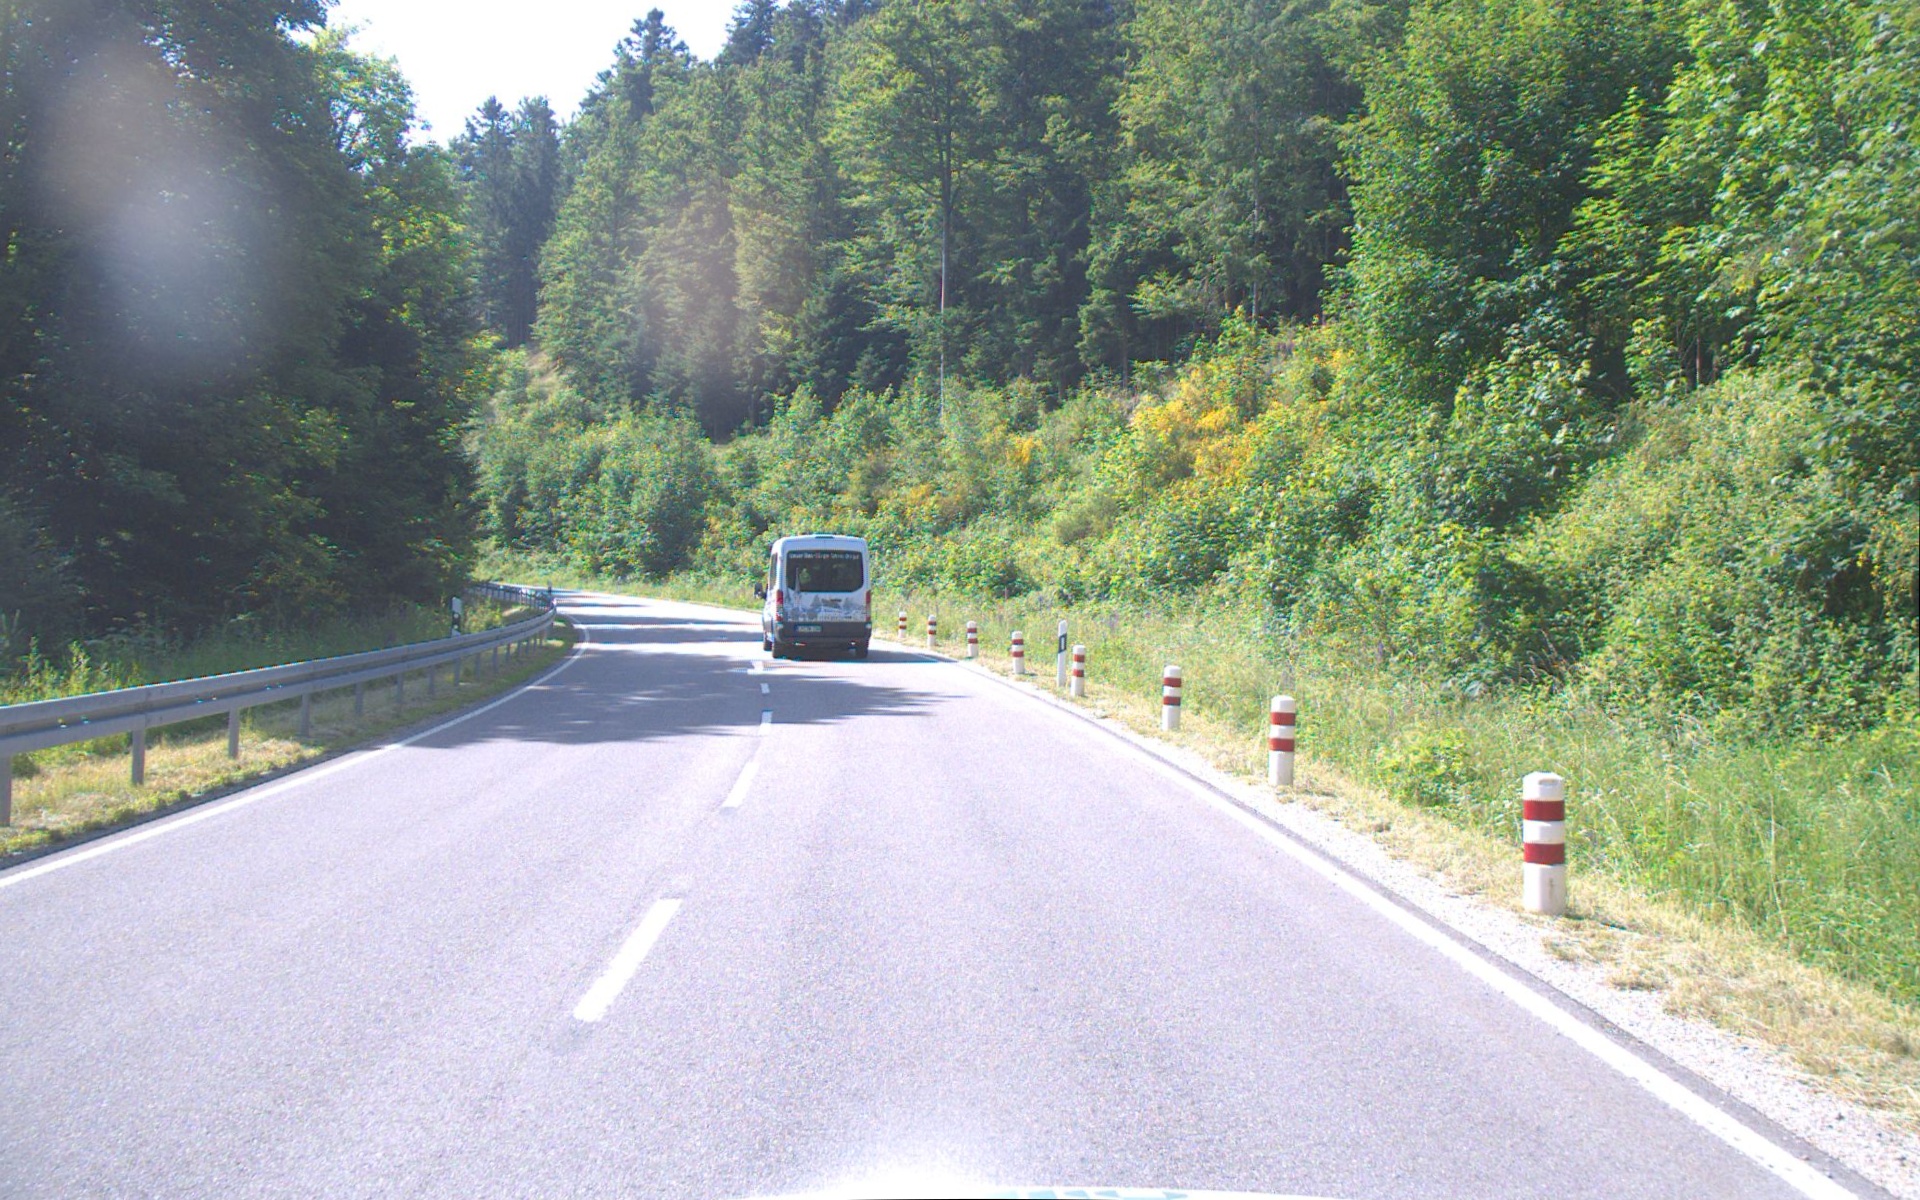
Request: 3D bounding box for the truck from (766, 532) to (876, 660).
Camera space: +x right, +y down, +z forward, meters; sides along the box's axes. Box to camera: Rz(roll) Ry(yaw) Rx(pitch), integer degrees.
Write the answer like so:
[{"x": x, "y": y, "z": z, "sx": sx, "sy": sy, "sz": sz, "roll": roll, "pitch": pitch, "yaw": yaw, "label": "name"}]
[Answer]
[{"x": -3.073, "y": -0.124, "z": 35.554, "sx": 2.076, "sy": 2.542, "sz": 5.350, "roll": 0, "pitch": 1, "yaw": -8, "label": "truck"}]
